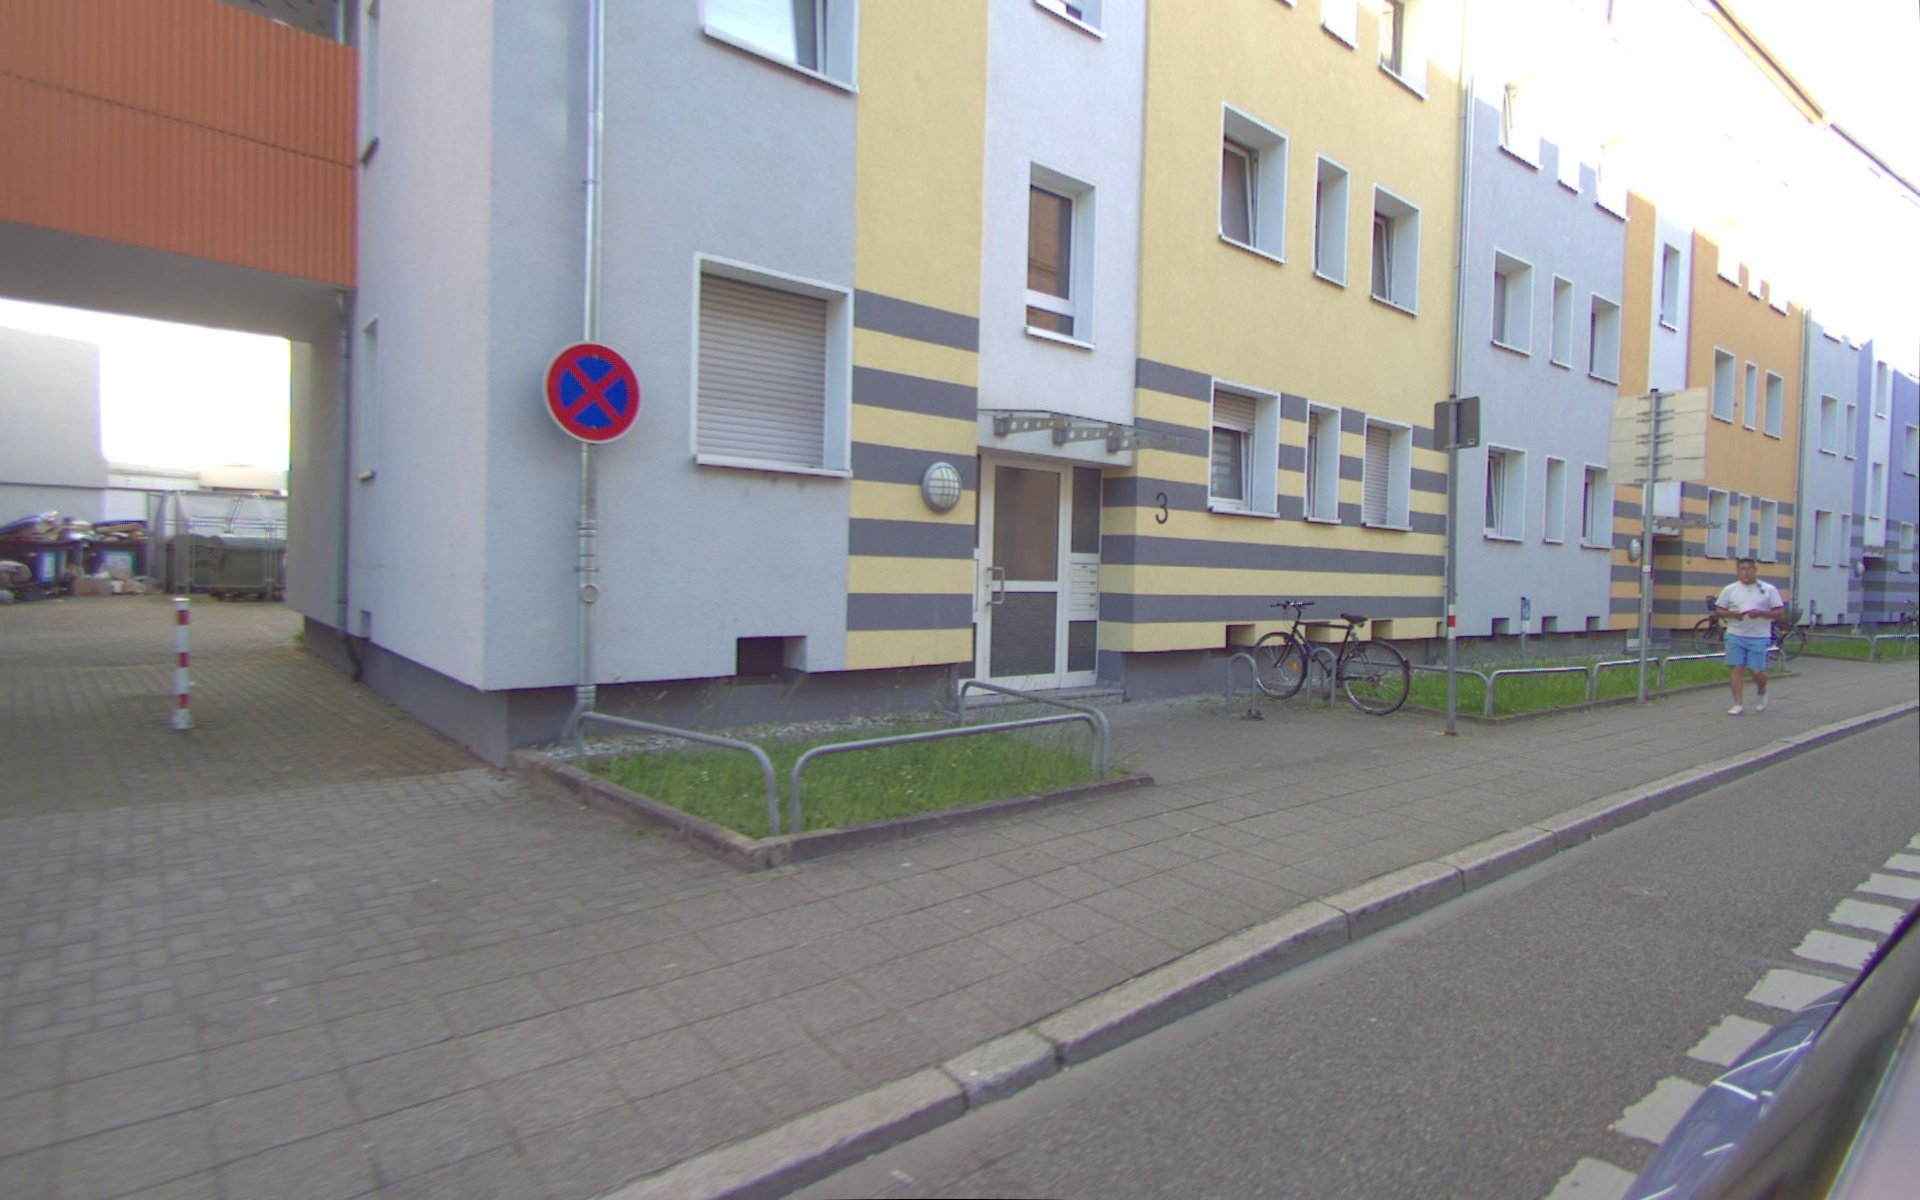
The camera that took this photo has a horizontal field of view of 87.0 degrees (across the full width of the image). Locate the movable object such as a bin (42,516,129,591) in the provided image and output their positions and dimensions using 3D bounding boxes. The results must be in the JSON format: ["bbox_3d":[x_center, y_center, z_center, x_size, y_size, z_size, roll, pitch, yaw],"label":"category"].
[{"bbox_3d":[-19.601,-1.057,22.716,1.159,1.603,1.238,1,3,-24],"label":"movable object such as a bin"}]

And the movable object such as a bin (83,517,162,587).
[{"bbox_3d":[-19.936,-1.154,24.134,1.159,1.603,1.238,1,3,-24],"label":"movable object such as a bin"}]

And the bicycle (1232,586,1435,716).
[{"bbox_3d":[3.651,0.453,10.014,0.574,1.061,1.774,-1,5,-44],"label":"bicycle"}]

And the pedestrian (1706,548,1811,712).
[{"bbox_3d":[8.710,0.301,11.043,0.819,1.692,0.644,0,3,-37],"label":"pedestrian"}]

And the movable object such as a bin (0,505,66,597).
[{"bbox_3d":[-19.178,-1.017,20.596,1.159,1.805,1.238,1,3,-24],"label":"movable object such as a bin"}]

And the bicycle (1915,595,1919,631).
[{"bbox_3d":[27.629,0.437,27.891,0.572,1.007,1.780,0,4,-32],"label":"bicycle"}]

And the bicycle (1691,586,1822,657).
[{"bbox_3d":[14.708,0.371,18.725,0.573,1.137,1.776,-1,4,-40],"label":"bicycle"}]

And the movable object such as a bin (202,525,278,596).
[{"bbox_3d":[-16.143,-0.892,22.694,1.308,1.518,1.183,-1,4,-40],"label":"movable object such as a bin"}]

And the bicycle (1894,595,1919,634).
[{"bbox_3d":[26.448,0.441,27.255,0.572,1.007,1.780,0,4,-32],"label":"bicycle"}]
